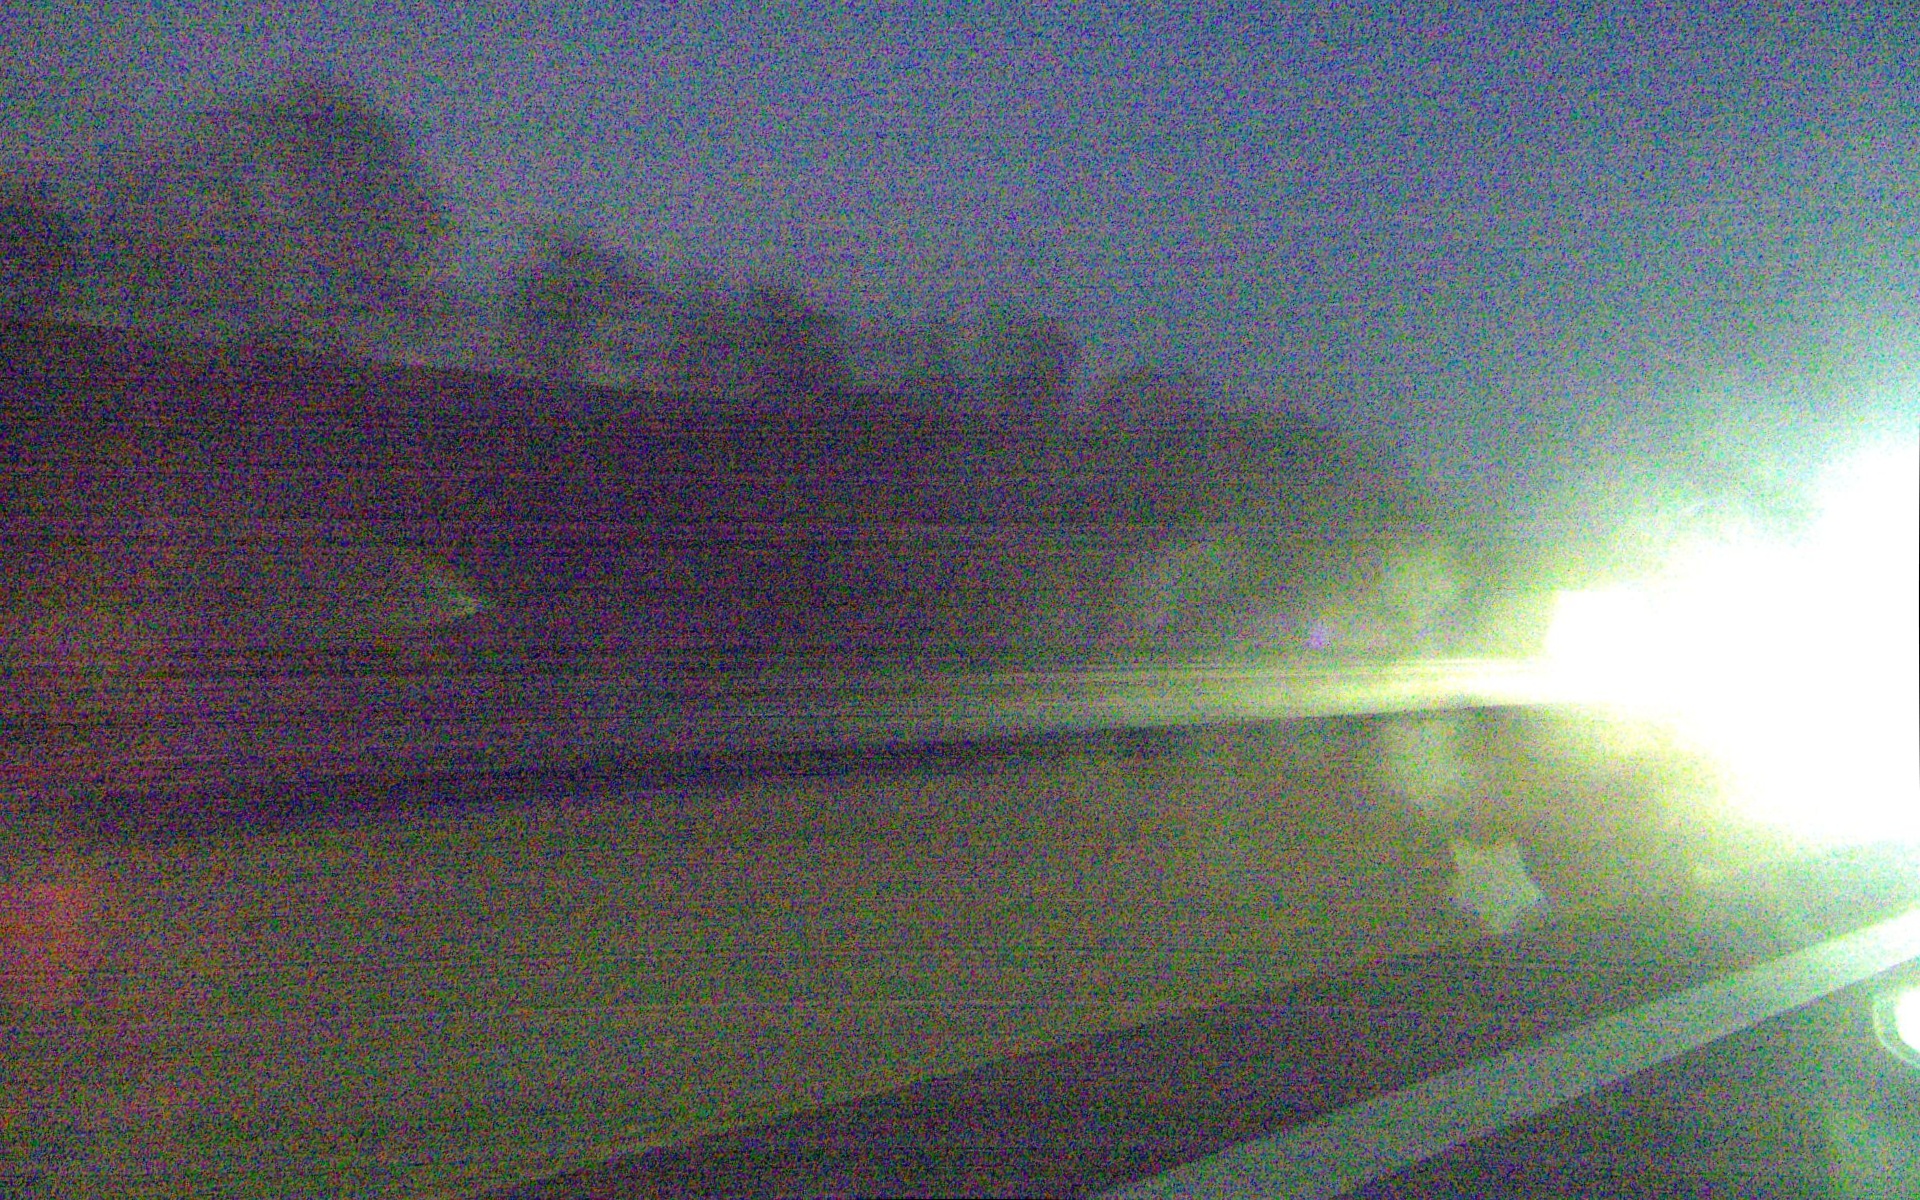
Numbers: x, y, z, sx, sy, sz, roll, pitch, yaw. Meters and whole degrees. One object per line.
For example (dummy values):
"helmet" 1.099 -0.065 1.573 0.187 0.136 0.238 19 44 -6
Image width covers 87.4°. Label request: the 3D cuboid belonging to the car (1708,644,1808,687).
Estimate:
"car" 34.302 2.763 43.168 4.196 1.737 1.984 1 -2 -30
